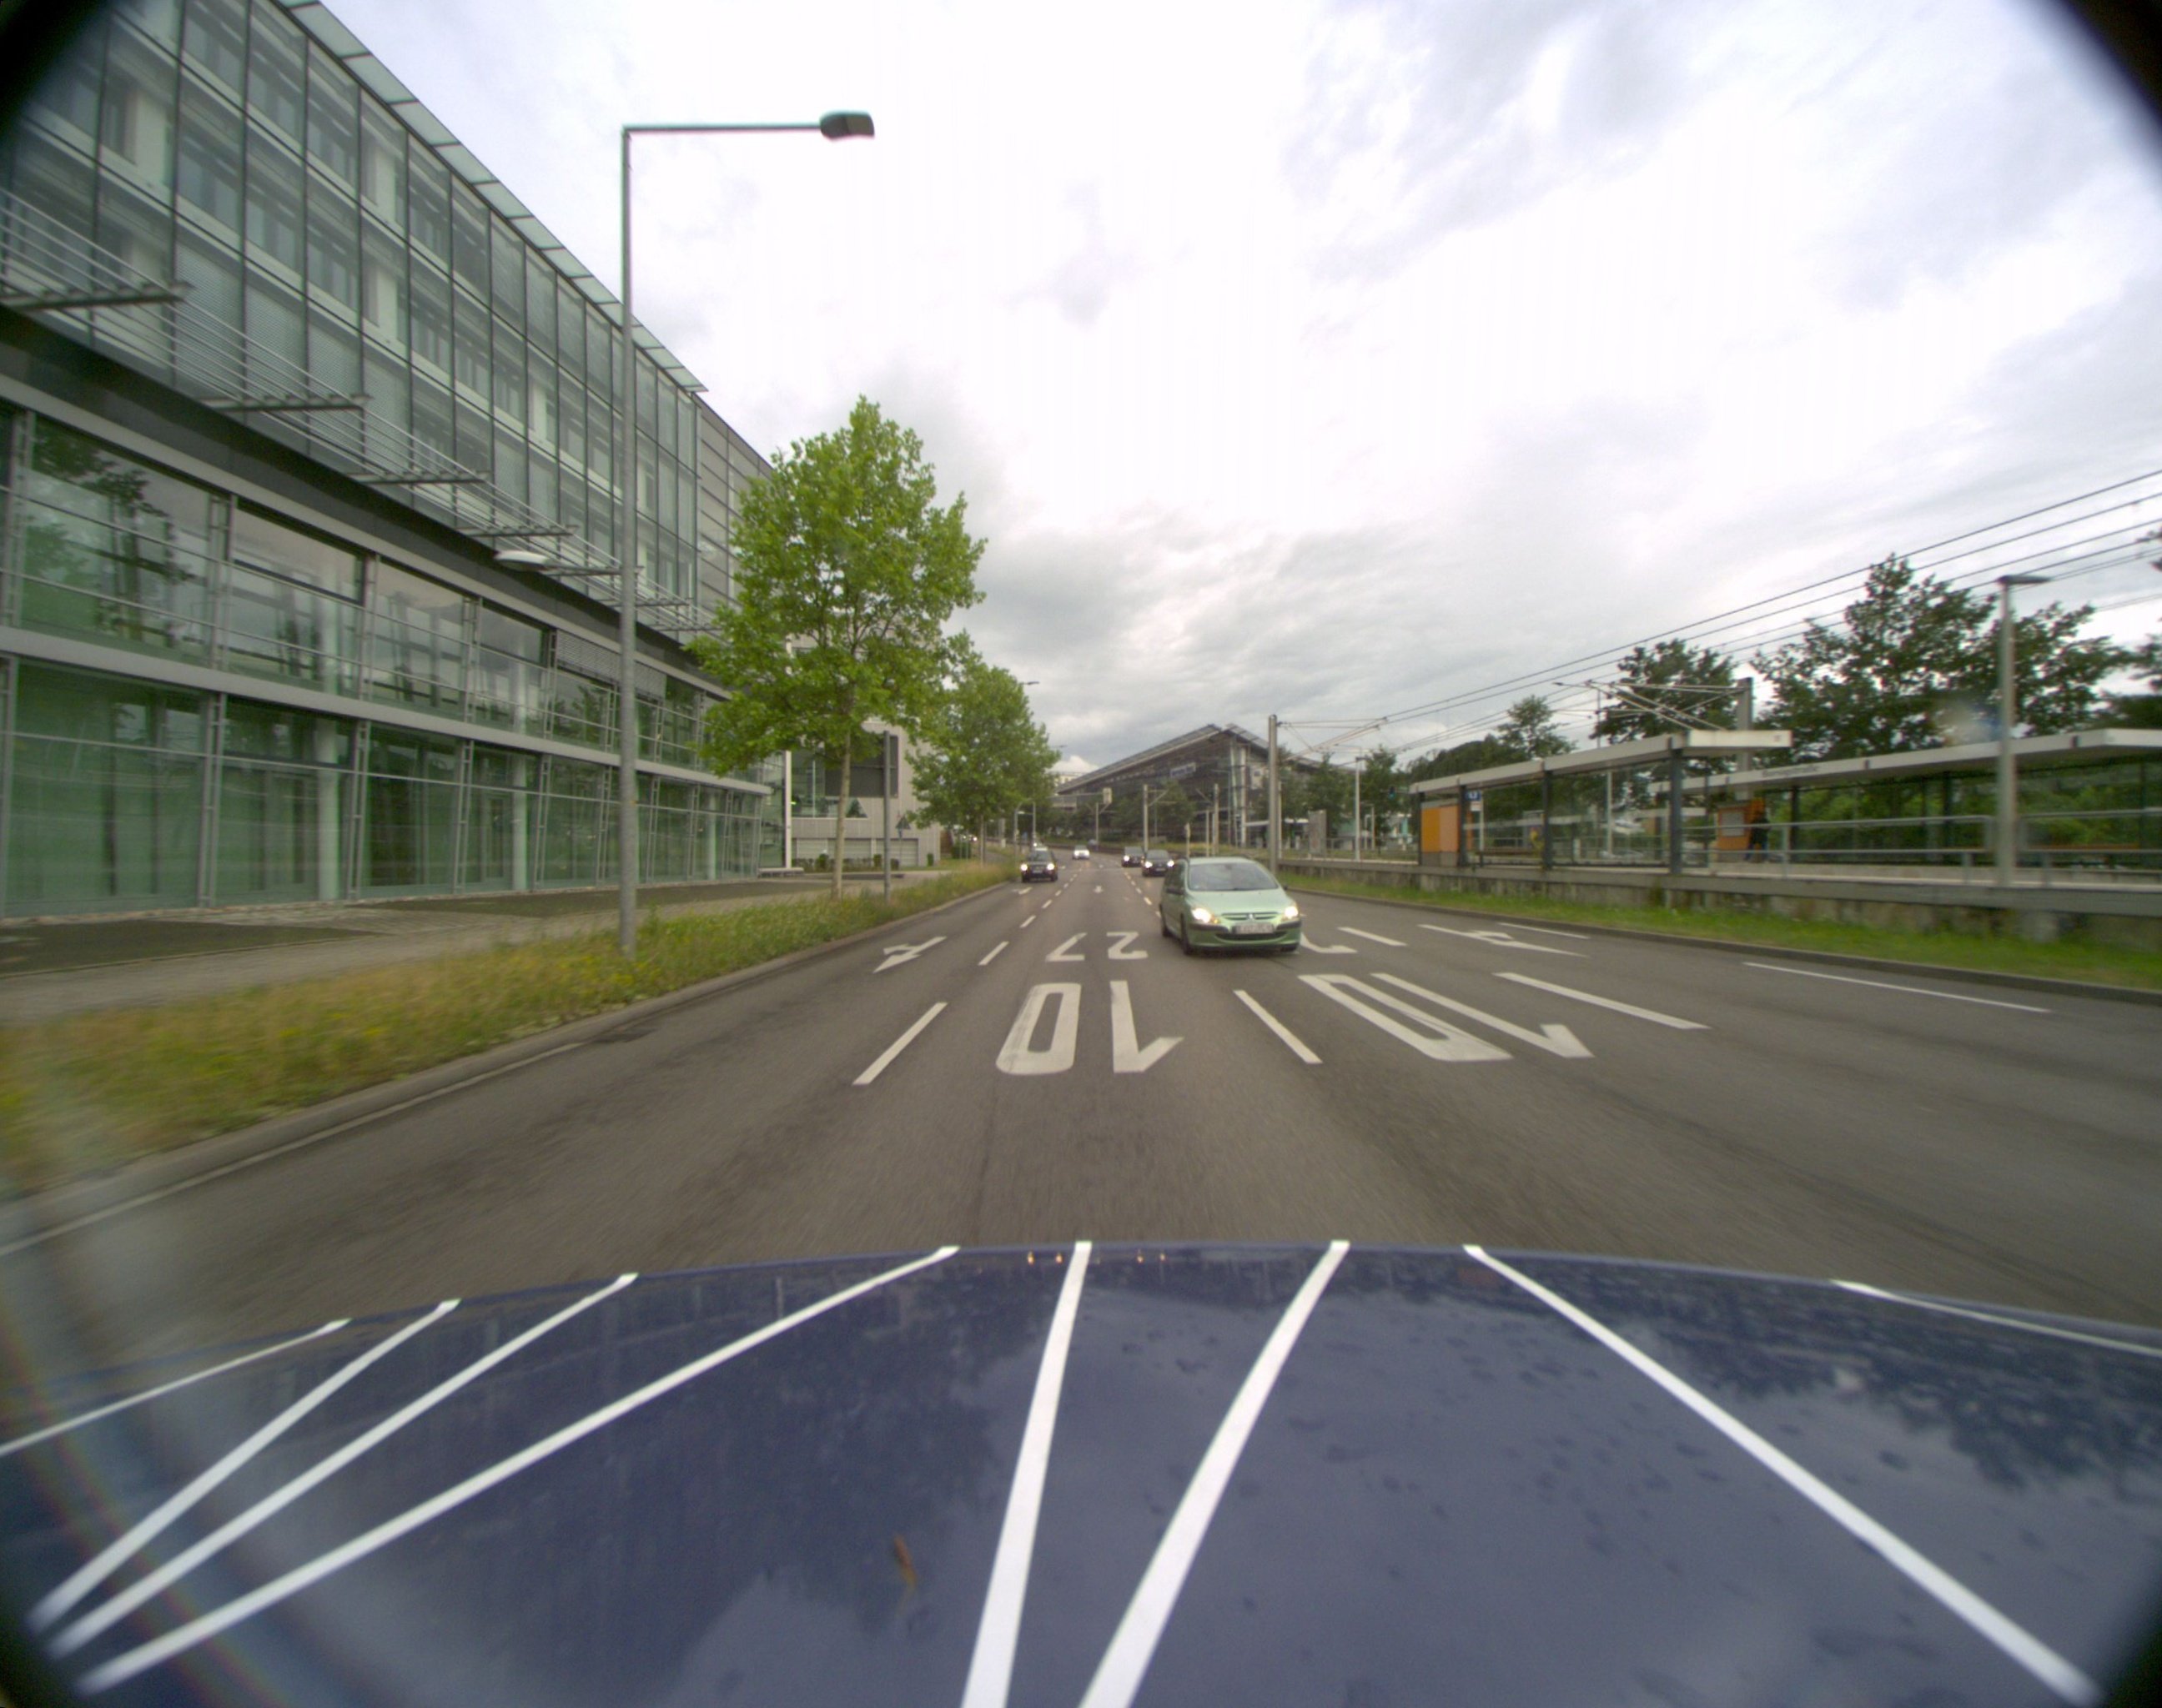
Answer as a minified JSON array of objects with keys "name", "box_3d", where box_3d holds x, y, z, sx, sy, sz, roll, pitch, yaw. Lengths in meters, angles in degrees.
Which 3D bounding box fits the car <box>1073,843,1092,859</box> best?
[{"name":"car","box_3d":[0.182,-0.370,86.405,1.806,1.713,3.998,-2,1,-4]}]

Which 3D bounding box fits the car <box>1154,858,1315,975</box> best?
[{"name":"car","box_3d":[2.337,0.883,12.701,1.699,1.460,4.402,-2,1,-1]}]

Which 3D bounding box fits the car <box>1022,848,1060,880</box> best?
[{"name":"car","box_3d":[-2.150,0.523,41.816,1.770,1.620,4.324,-2,0,0]}]

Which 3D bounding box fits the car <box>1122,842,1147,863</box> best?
[{"name":"car","box_3d":[4.422,-0.118,62.169,1.730,1.583,4.194,-2,1,8]}]

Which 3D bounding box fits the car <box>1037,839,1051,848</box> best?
[{"name":"car","box_3d":[-6.830,-1.922,138.561,1.742,1.469,3.995,-2,0,-14]}]

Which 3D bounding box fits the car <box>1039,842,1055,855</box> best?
[{"name":"car","box_3d":[-4.558,-0.743,101.406,1.999,1.669,3.820,-3,1,-4]}]

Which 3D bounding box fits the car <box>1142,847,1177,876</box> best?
[{"name":"car","box_3d":[4.503,0.384,43.861,1.697,1.514,3.904,-2,1,2]}]
